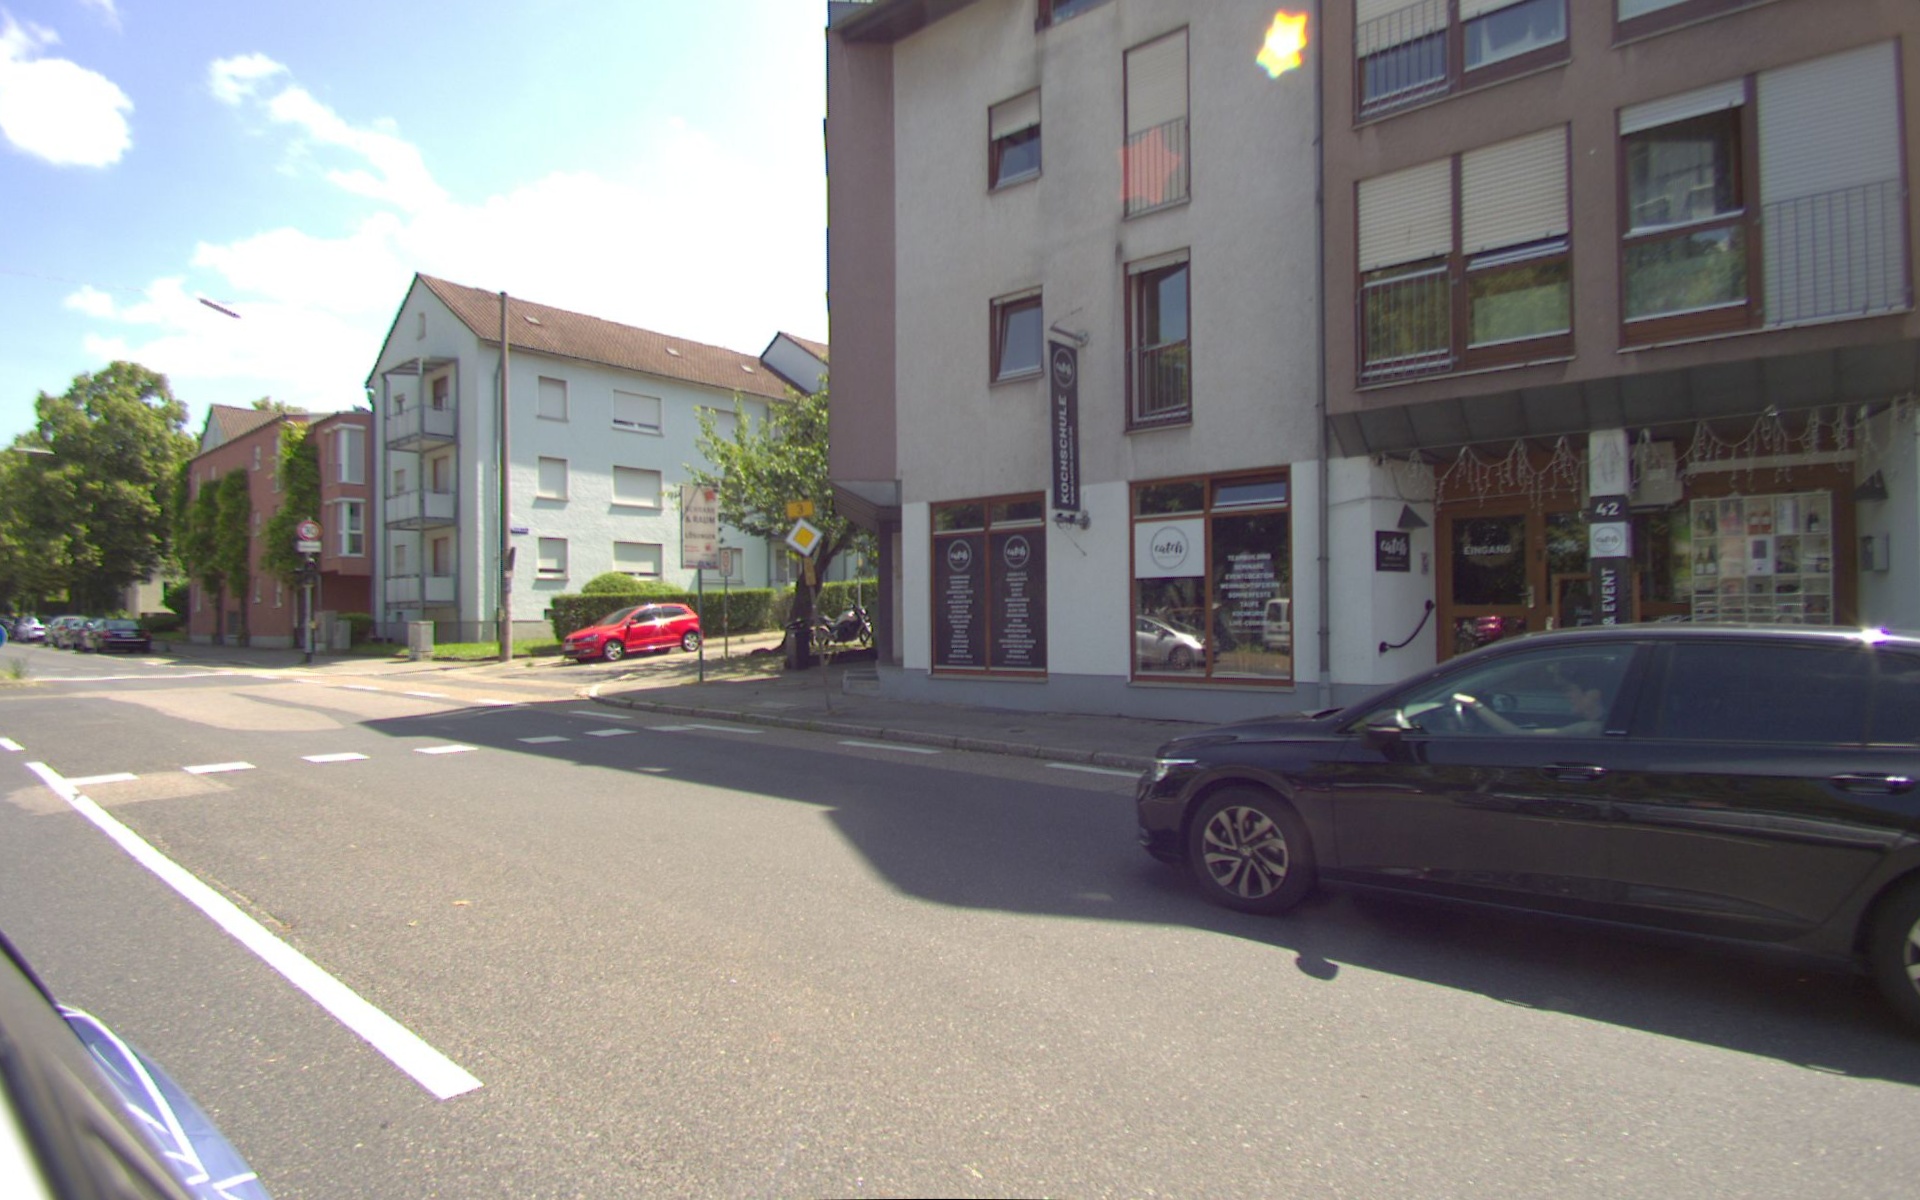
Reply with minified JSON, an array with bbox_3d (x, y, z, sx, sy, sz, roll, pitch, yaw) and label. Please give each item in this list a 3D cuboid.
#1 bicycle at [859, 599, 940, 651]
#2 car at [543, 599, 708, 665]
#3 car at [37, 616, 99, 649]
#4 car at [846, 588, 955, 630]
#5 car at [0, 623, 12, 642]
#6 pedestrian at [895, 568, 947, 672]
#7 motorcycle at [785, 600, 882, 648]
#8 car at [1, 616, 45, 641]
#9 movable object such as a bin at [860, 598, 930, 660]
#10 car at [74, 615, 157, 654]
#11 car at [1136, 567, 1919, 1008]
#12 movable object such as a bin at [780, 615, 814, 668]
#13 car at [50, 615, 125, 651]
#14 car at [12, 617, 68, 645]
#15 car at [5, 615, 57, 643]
[{"bbox_3d":[-1.491,0.616,25.322,0.756,1.244,2.235,-1,-1,37],"label":"bicycle"},{"bbox_3d":[-9.161,0.847,27.987,1.731,1.462,3.948,-3,2,40],"label":"car"},{"bbox_3d":[-44.364,1.575,50.304,3.997,1.519,1.730,-1,0,40],"label":"car"},{"bbox_3d":[-2.086,0.296,36.290,1.731,1.160,3.742,-5,0,40],"label":"car"},{"bbox_3d":[-71.394,2.405,74.641,3.605,1.343,1.735,-1,0,40],"label":"car"},{"bbox_3d":[-0.788,0.393,20.305,0.836,2.029,0.593,-1,0,34],"label":"pedestrian"},{"bbox_3d":[-3.412,0.657,27.208,2.372,1.042,0.922,-6,0,22],"label":"motorcycle"},{"bbox_3d":[-58.161,1.752,62.795,3.997,1.519,1.552,-1,0,40],"label":"car"},{"bbox_3d":[-1.512,0.664,23.631,1.084,1.377,1.262,-1,0,36],"label":"movable object such as a bin"},{"bbox_3d":[-35.059,1.398,41.990,4.564,1.551,1.867,-1,-1,40],"label":"car"},{"bbox_3d":[3.056,0.634,4.455,4.219,1.430,1.725,-1,-2,40],"label":"car"},{"bbox_3d":[-3.485,0.880,21.637,0.624,1.105,0.673,0,-1,1],"label":"movable object such as a bin"},{"bbox_3d":[-39.834,1.476,46.186,4.564,1.551,1.867,-1,-1,40],"label":"car"},{"bbox_3d":[-49.727,1.651,54.691,3.997,1.453,1.730,-1,0,40],"label":"car"},{"bbox_3d":[-54.400,1.690,59.245,3.997,1.519,1.730,-1,0,40],"label":"car"}]
